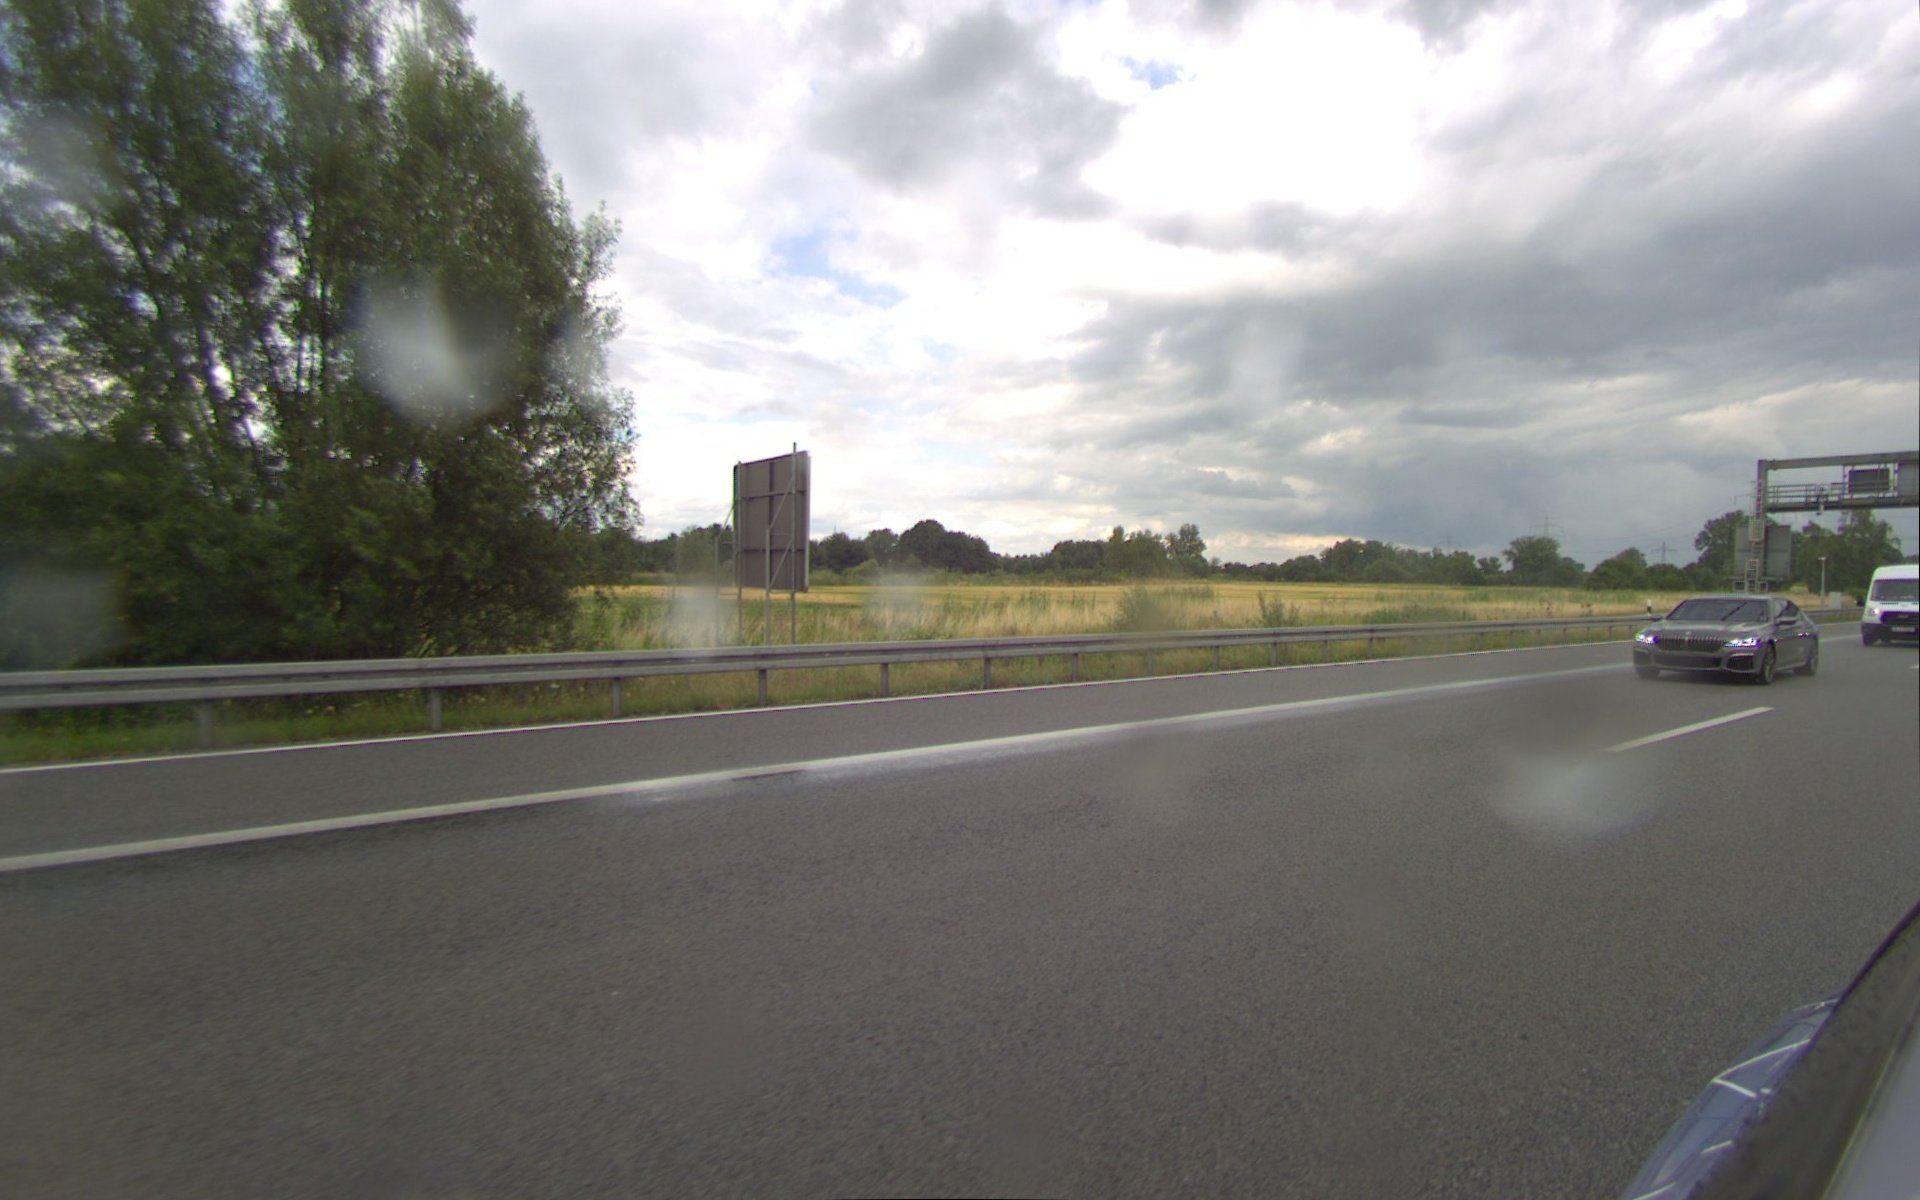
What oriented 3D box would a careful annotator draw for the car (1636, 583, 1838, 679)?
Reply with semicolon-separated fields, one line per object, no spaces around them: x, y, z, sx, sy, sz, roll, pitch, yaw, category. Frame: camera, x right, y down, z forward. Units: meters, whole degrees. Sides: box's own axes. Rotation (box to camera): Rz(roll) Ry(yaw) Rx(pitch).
14.070;0.456;18.230;4.691;1.510;1.943;-1;1;-40;car

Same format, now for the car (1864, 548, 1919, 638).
29.040;-0.212;30.344;5.351;2.532;2.144;-1;1;-40;car
